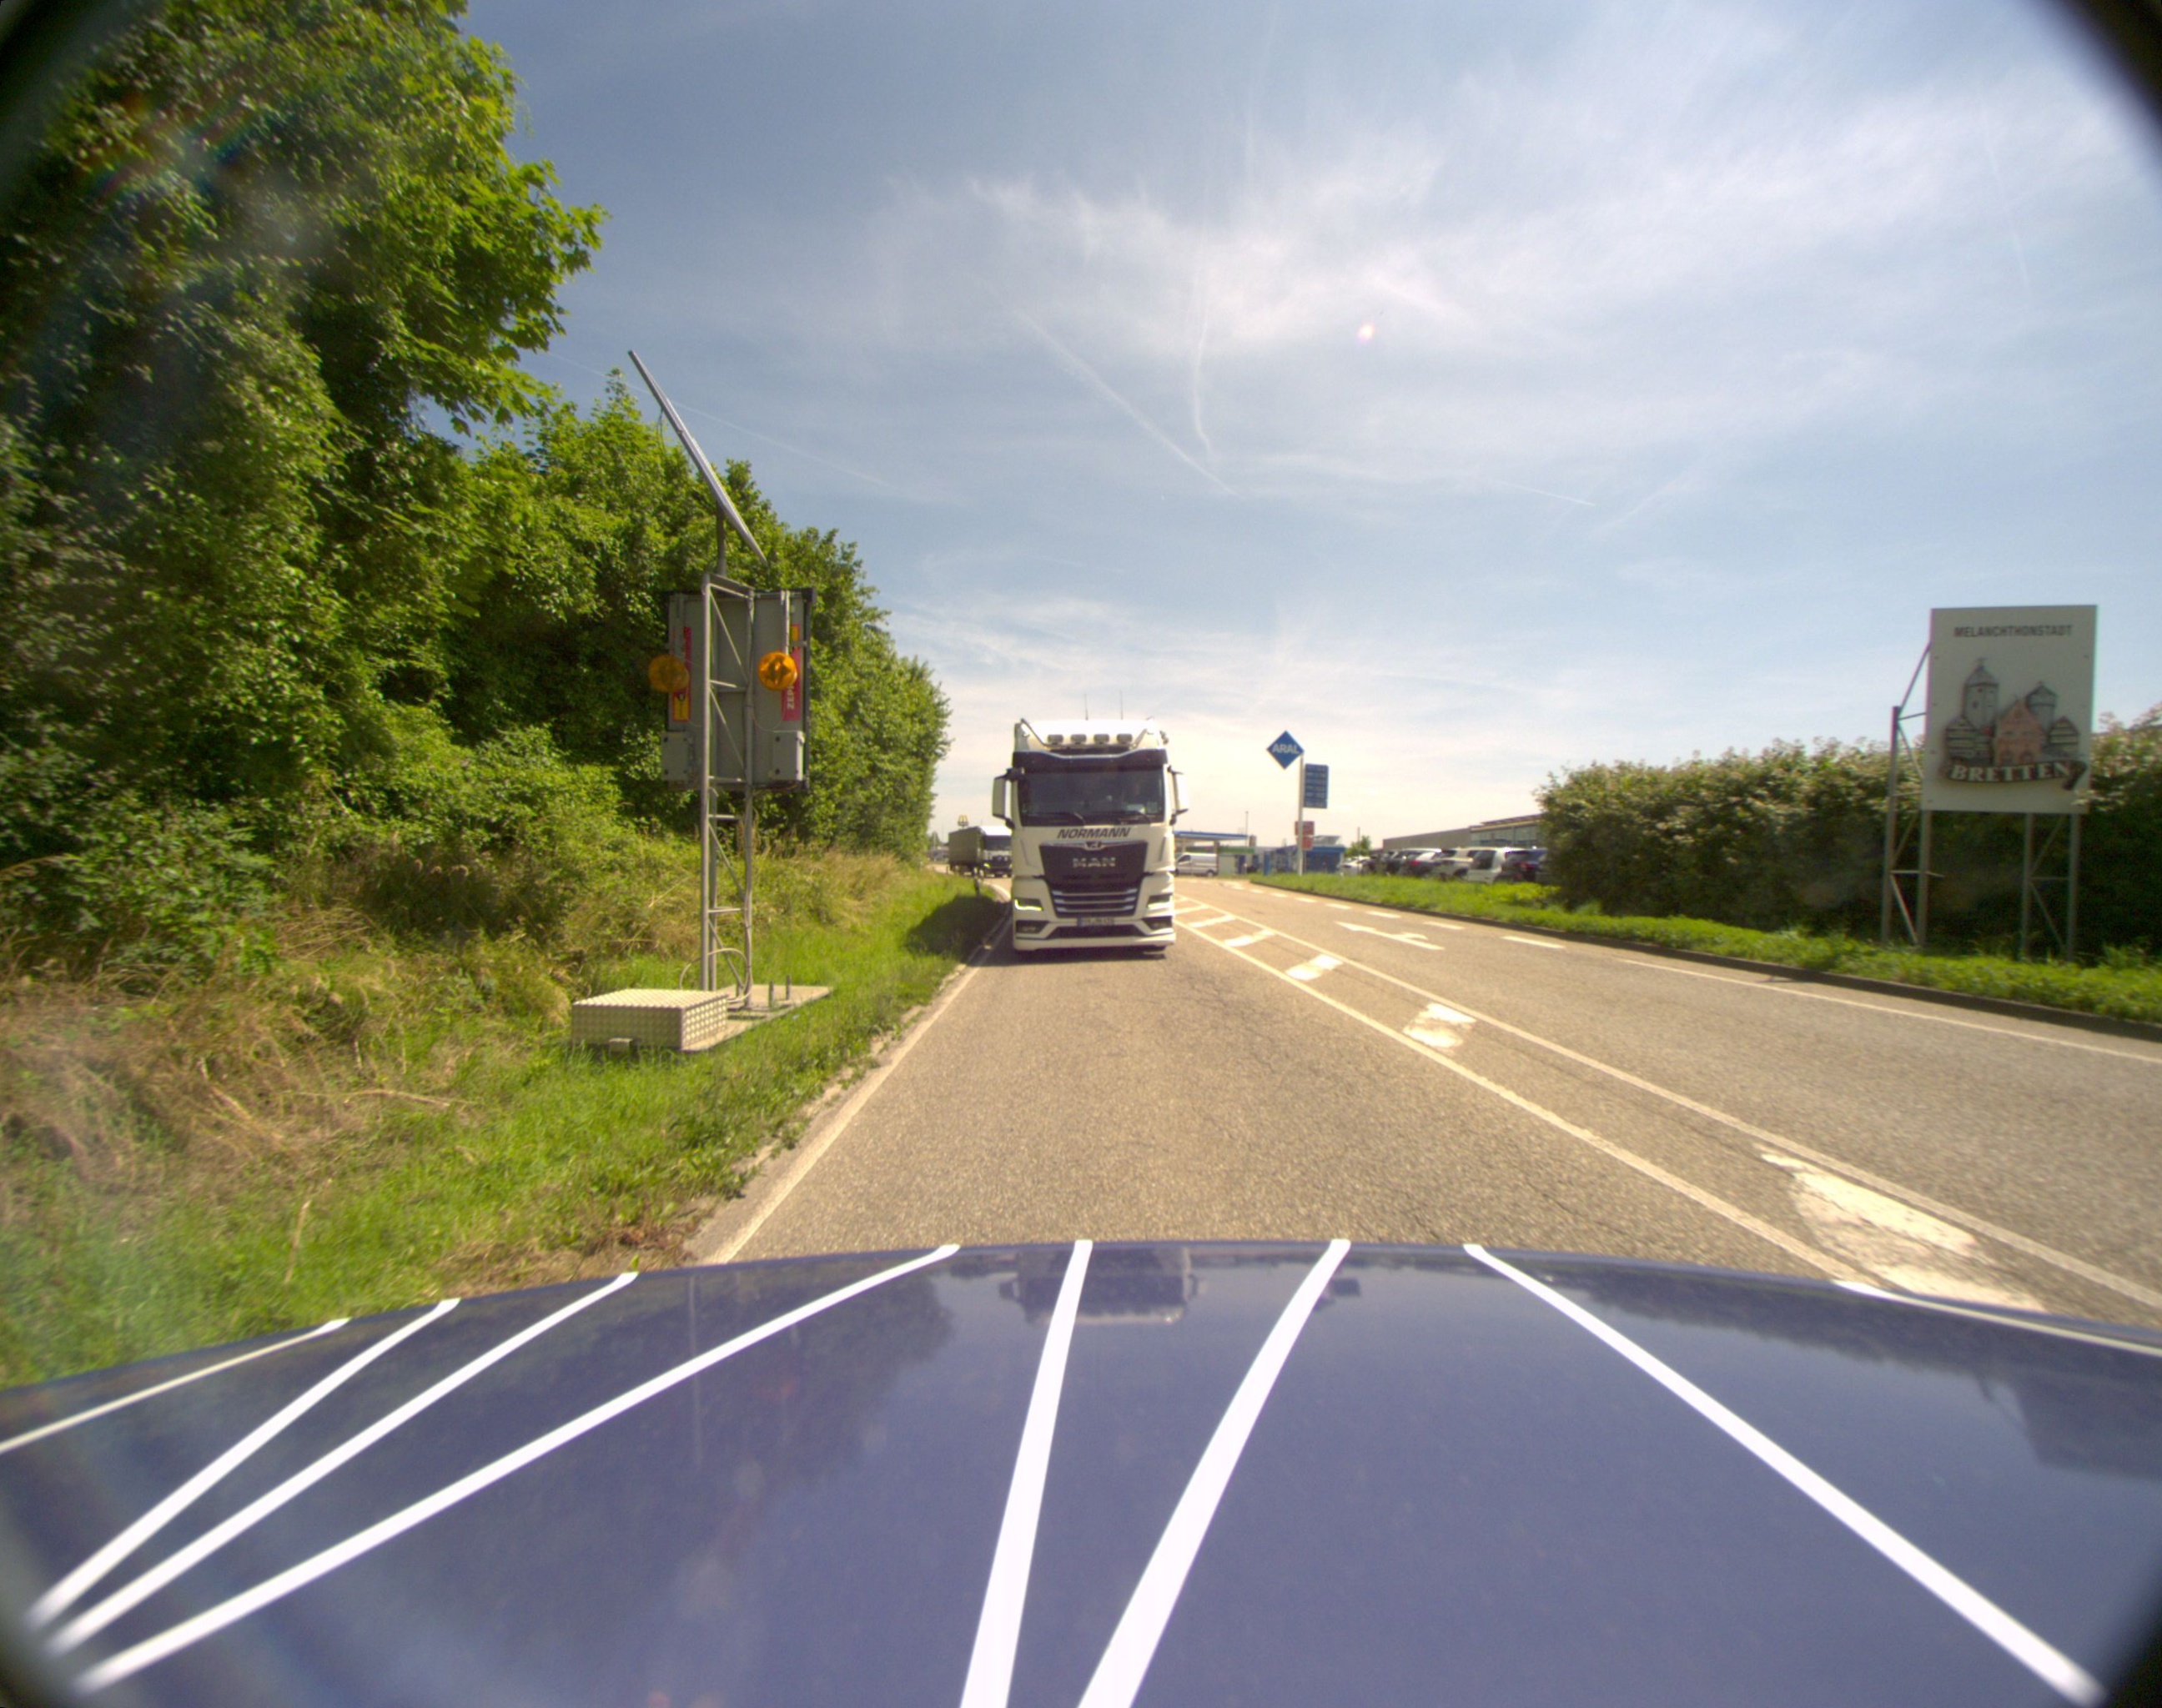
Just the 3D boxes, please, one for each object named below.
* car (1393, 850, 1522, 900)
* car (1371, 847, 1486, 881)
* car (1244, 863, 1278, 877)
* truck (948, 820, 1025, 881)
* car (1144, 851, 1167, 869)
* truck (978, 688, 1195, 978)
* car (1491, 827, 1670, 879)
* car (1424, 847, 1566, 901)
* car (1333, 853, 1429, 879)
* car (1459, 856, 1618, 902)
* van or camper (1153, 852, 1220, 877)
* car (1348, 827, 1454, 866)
[{"bbox_3d":[14.546,0.793,29.550,3.995,1.739,2.001,2,0,6],"label":"car"},{"bbox_3d":[14.739,0.419,32.425,3.995,1.324,2.001,2,0,6],"label":"car"},{"bbox_3d":[22.068,1.903,93.102,3.991,1.598,1.949,1,0,17],"label":"car"},{"bbox_3d":[-8.389,-0.382,64.632,2.985,4.447,16.422,-3,2,-19],"label":"truck"},{"bbox_3d":[7.397,0.543,75.257,1.866,1.702,4.522,-1,0,10],"label":"car"},{"bbox_3d":[-0.524,-0.509,19.670,2.982,4.071,17.623,-2,1,-4],"label":"truck"},{"bbox_3d":[14.550,-0.023,22.301,3.996,1.354,1.821,2,0,3],"label":"car"},{"bbox_3d":[14.751,0.703,27.268,3.995,1.739,2.001,2,0,6],"label":"car"},{"bbox_3d":[15.620,0.613,39.731,4.246,1.351,2.001,0,0,4],"label":"car"},{"bbox_3d":[14.706,0.776,24.590,3.996,1.309,1.834,2,0,3],"label":"car"},{"bbox_3d":[8.238,0.836,59.569,4.868,1.893,1.901,1,-1,-19],"label":"van or camper"},{"bbox_3d":[14.476,-0.344,34.580,3.995,1.740,2.001,0,1,6],"label":"car"}]
